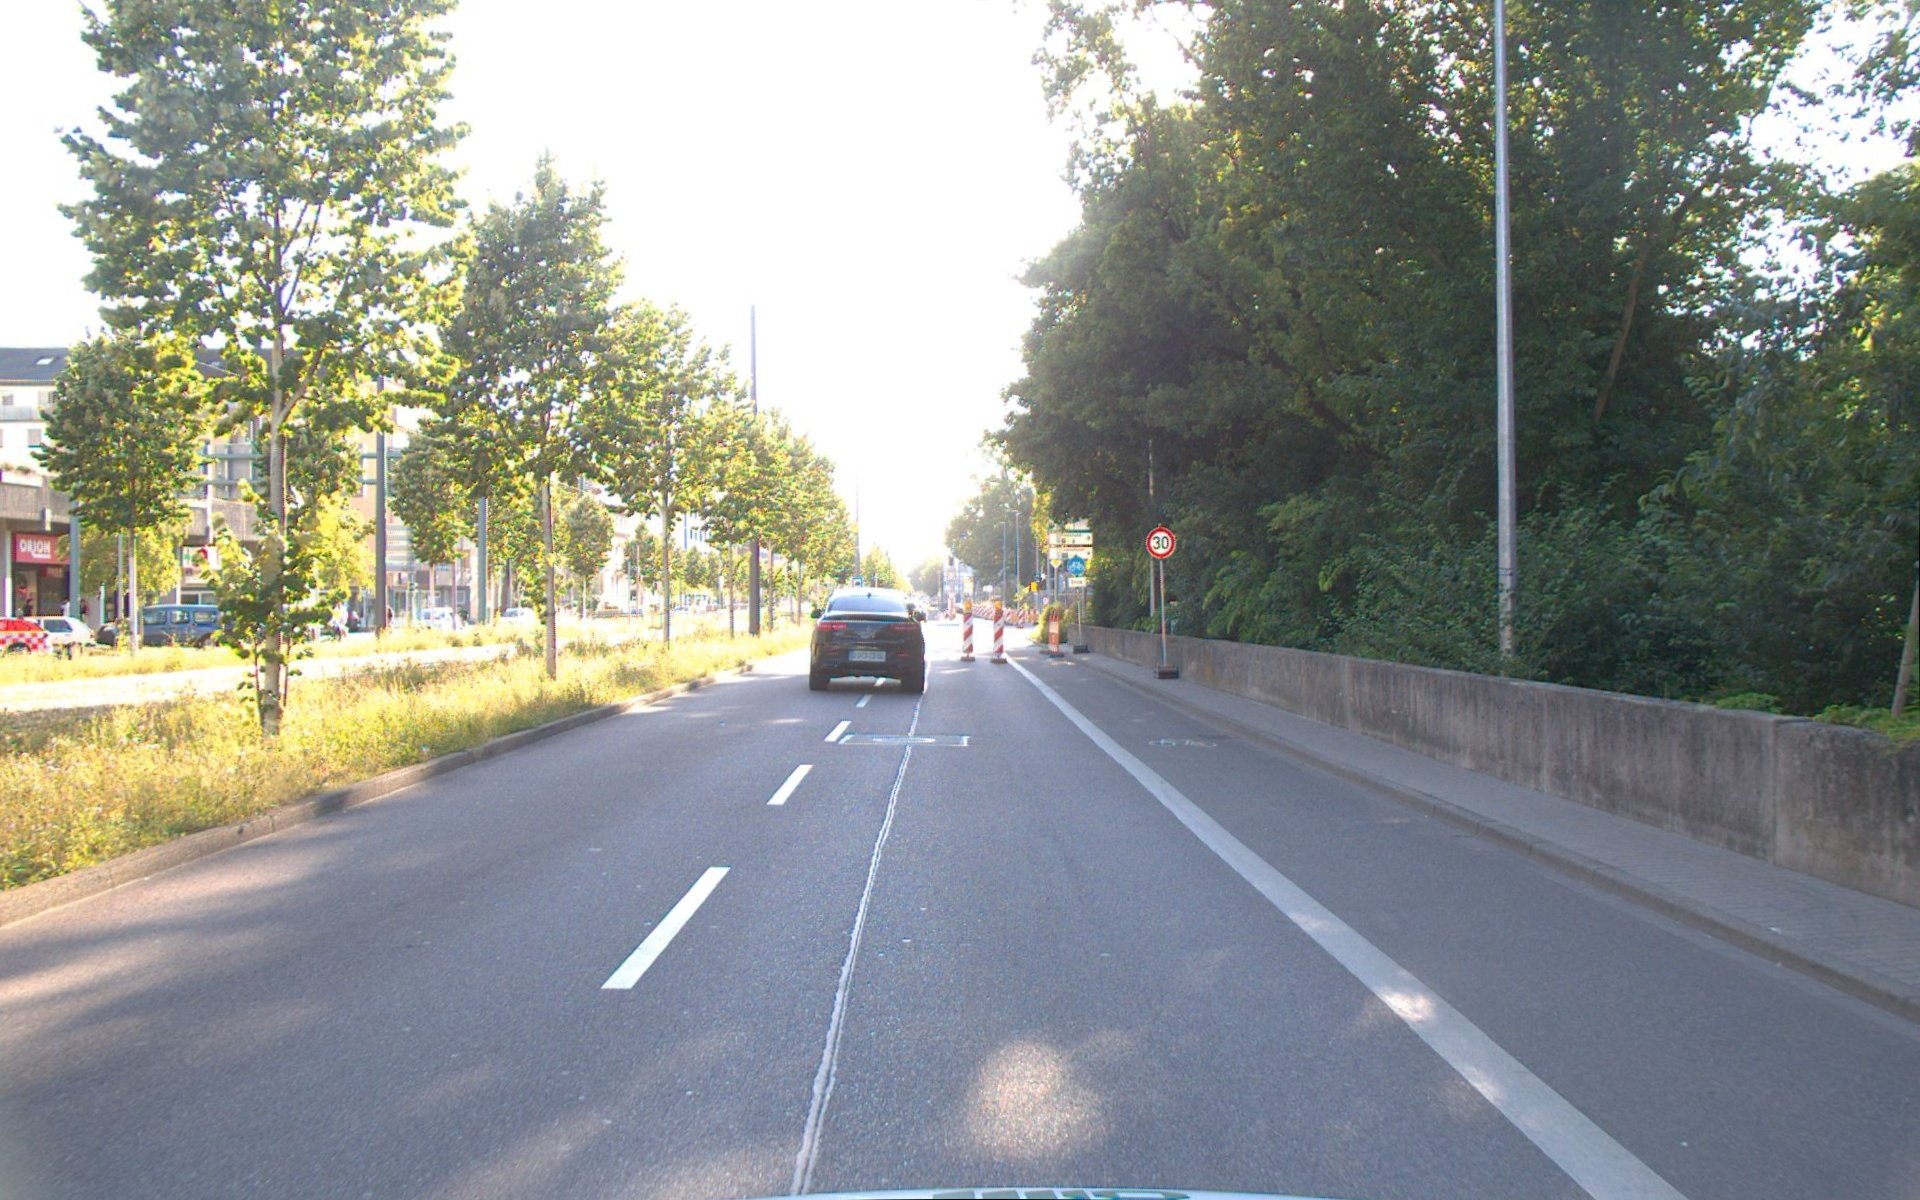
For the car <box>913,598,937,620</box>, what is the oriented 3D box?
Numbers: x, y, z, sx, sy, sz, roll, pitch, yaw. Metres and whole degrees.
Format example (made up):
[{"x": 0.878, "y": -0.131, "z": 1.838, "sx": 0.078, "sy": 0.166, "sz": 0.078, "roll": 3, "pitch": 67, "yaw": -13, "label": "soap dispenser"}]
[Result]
[{"x": -2.579, "y": 0.651, "z": 122.453, "sx": 1.731, "sy": 1.632, "sz": 3.771, "roll": -1, "pitch": 0, "yaw": -2, "label": "car"}]

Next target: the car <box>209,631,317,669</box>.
[{"x": -31.039, "y": 2.216, "z": 73.722, "sx": 1.964, "sy": 1.601, "sz": 3.977, "roll": 1, "pitch": 0, "yaw": 41, "label": "car"}]

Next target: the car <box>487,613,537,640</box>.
[{"x": -26.837, "y": 1.599, "z": 99.162, "sx": 1.847, "sy": 1.541, "sz": 4.000, "roll": 0, "pitch": 0, "yaw": 1, "label": "car"}]

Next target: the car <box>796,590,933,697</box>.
[{"x": -1.771, "y": 0.721, "z": 29.350, "sx": 1.957, "sy": 1.765, "sz": 3.990, "roll": 0, "pitch": 0, "yaw": -10, "label": "car"}]

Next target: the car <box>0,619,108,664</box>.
[{"x": -31.563, "y": 1.395, "z": 56.526, "sx": 1.754, "sy": 1.478, "sz": 3.977, "roll": 1, "pitch": 0, "yaw": 41, "label": "car"}]

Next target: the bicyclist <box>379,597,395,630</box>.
[{"x": -28.114, "y": 0.662, "z": 81.125, "sx": 0.540, "sy": 1.571, "sz": 0.682, "roll": 1, "pitch": 0, "yaw": 0, "label": "bicyclist"}]

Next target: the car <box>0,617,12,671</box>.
[{"x": -31.272, "y": 1.296, "z": 50.173, "sx": 4.060, "sy": 1.629, "sz": 1.724, "roll": 2, "pitch": 0, "yaw": -42, "label": "car"}]

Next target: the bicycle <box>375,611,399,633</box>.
[{"x": -28.113, "y": 1.078, "z": 81.211, "sx": 0.543, "sy": 1.058, "sz": 1.791, "roll": 1, "pitch": 0, "yaw": 0, "label": "bicycle"}]

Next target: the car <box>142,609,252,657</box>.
[{"x": -30.915, "y": 1.328, "z": 67.038, "sx": 3.725, "sy": 1.861, "sz": 1.798, "roll": 1, "pitch": 0, "yaw": -41, "label": "car"}]

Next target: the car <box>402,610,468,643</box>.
[{"x": -25.613, "y": 1.265, "z": 80.817, "sx": 1.847, "sy": 1.541, "sz": 4.000, "roll": 0, "pitch": 0, "yaw": 1, "label": "car"}]

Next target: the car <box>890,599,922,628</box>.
[{"x": -3.188, "y": 0.768, "z": 97.718, "sx": 1.847, "sy": 1.608, "sz": 3.999, "roll": 0, "pitch": 1, "yaw": -1, "label": "car"}]

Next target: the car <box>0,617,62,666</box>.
[{"x": -31.348, "y": 1.324, "z": 53.676, "sx": 3.594, "sy": 1.550, "sz": 1.596, "roll": 2, "pitch": -1, "yaw": -42, "label": "car"}]

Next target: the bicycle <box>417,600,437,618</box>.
[{"x": -29.007, "y": 0.478, "z": 89.983, "sx": 0.594, "sy": 0.980, "sz": 1.716, "roll": 1, "pitch": 0, "yaw": -3, "label": "bicycle"}]

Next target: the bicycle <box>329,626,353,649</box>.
[{"x": -28.683, "y": 1.728, "z": 76.670, "sx": 0.533, "sy": 1.010, "sz": 1.710, "roll": 1, "pitch": 0, "yaw": -3, "label": "bicycle"}]

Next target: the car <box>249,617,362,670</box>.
[{"x": -22.910, "y": 1.477, "z": 58.094, "sx": 1.847, "sy": 1.718, "sz": 5.089, "roll": 0, "pitch": 0, "yaw": 1, "label": "car"}]

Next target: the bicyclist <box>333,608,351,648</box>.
[{"x": -28.686, "y": 1.295, "z": 76.763, "sx": 0.529, "sy": 1.819, "sz": 0.857, "roll": 1, "pitch": 0, "yaw": -4, "label": "bicyclist"}]
